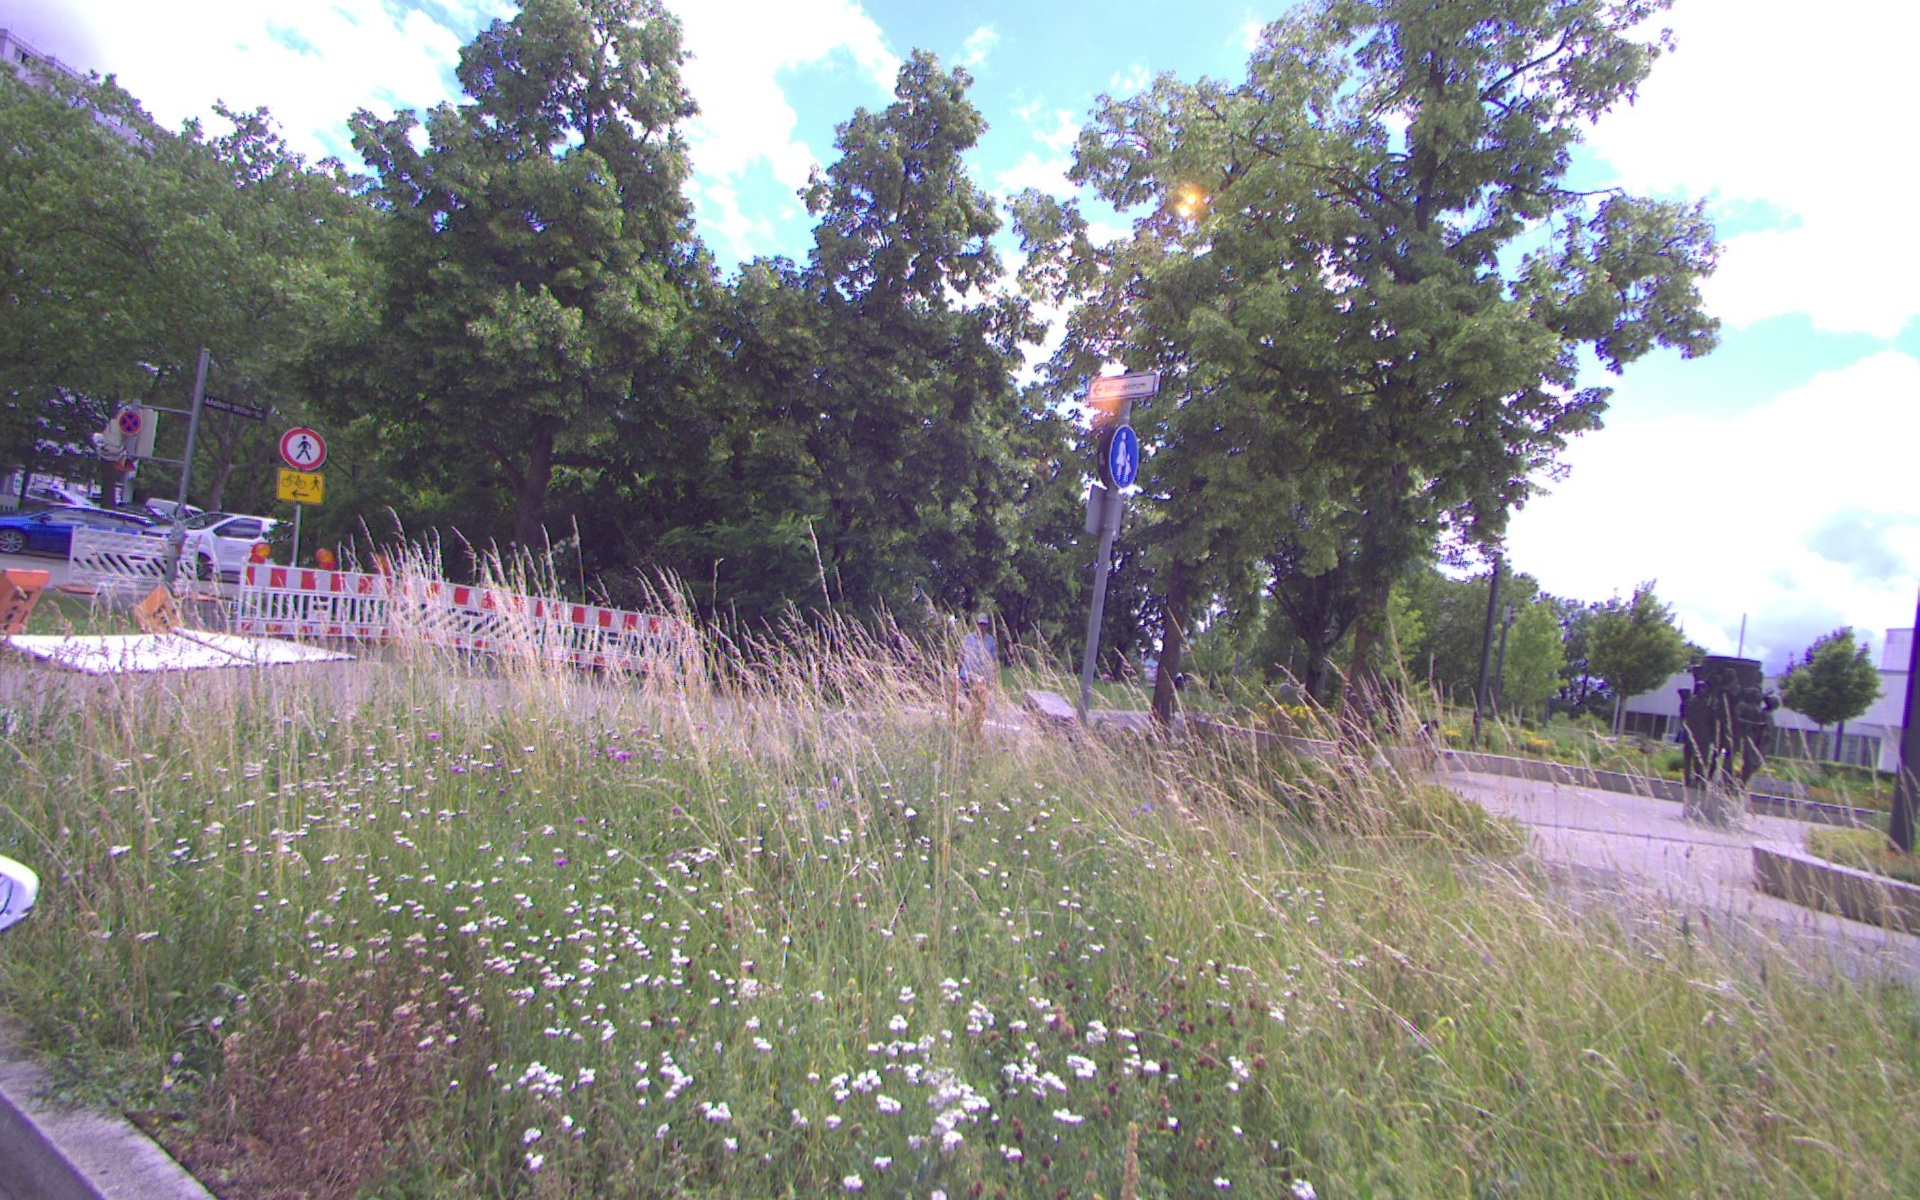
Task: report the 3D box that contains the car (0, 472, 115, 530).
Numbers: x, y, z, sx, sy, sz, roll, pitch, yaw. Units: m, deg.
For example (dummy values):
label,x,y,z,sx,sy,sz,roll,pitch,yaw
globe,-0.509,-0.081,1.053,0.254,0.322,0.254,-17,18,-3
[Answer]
label,x,y,z,sx,sy,sz,roll,pitch,yaw
car,-43.693,-4.774,48.567,3.926,2.037,2.001,8,-1,0

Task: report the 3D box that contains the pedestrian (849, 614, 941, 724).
label,x,y,z,sx,sy,sz,roll,pitch,yaw
pedestrian,-0.997,1.081,15.622,0.830,1.570,0.947,7,-1,34

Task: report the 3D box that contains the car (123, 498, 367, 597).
label,x,y,z,sx,sy,sz,roll,pitch,yaw
car,-19.716,-1.384,28.048,1.915,1.895,5.090,7,-2,28

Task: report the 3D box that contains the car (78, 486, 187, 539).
label,x,y,z,sx,sy,sz,roll,pitch,yaw
car,-43.787,-4.598,53.284,3.926,2.037,2.001,8,-1,0

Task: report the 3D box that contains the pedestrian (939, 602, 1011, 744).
label,x,y,z,sx,sy,sz,roll,pitch,yaw
pedestrian,0.205,1.021,14.203,0.758,1.862,0.765,7,-1,-1

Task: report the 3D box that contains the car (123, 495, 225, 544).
label,x,y,z,sx,sy,sz,roll,pitch,yaw
car,-44.242,-4.524,56.687,3.926,2.037,2.001,8,-1,0

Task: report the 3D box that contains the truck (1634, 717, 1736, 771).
label,x,y,z,sx,sy,sz,roll,pitch,yaw
truck,37.318,7.401,51.920,1.965,2.037,3.999,8,-1,-4

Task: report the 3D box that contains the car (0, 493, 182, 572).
label,x,y,z,sx,sy,sz,roll,pitch,yaw
car,-23.877,-1.842,26.793,1.955,1.503,4.486,7,-2,30

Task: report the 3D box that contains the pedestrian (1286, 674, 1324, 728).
label,x,y,z,sx,sy,sz,roll,pitch,yaw
pedestrian,14.340,4.193,41.815,1.137,2.037,0.817,8,0,30

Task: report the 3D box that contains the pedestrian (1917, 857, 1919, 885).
label,x,y,z,sx,sy,sz,roll,pitch,yaw
pedestrian,14.838,3.478,14.929,0.762,1.644,0.761,7,-1,44

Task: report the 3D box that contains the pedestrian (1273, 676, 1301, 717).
label,x,y,z,sx,sy,sz,roll,pitch,yaw
pedestrian,15.098,4.452,46.418,0.879,1.732,0.817,8,-1,30

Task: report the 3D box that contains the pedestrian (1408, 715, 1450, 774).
label,x,y,z,sx,sy,sz,roll,pitch,yaw
pedestrian,10.788,3.312,23.139,0.623,1.236,0.618,7,-1,36

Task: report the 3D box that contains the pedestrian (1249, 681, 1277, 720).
label,x,y,z,sx,sy,sz,roll,pitch,yaw
pedestrian,14.153,4.697,46.992,0.872,1.681,0.817,8,-1,30
